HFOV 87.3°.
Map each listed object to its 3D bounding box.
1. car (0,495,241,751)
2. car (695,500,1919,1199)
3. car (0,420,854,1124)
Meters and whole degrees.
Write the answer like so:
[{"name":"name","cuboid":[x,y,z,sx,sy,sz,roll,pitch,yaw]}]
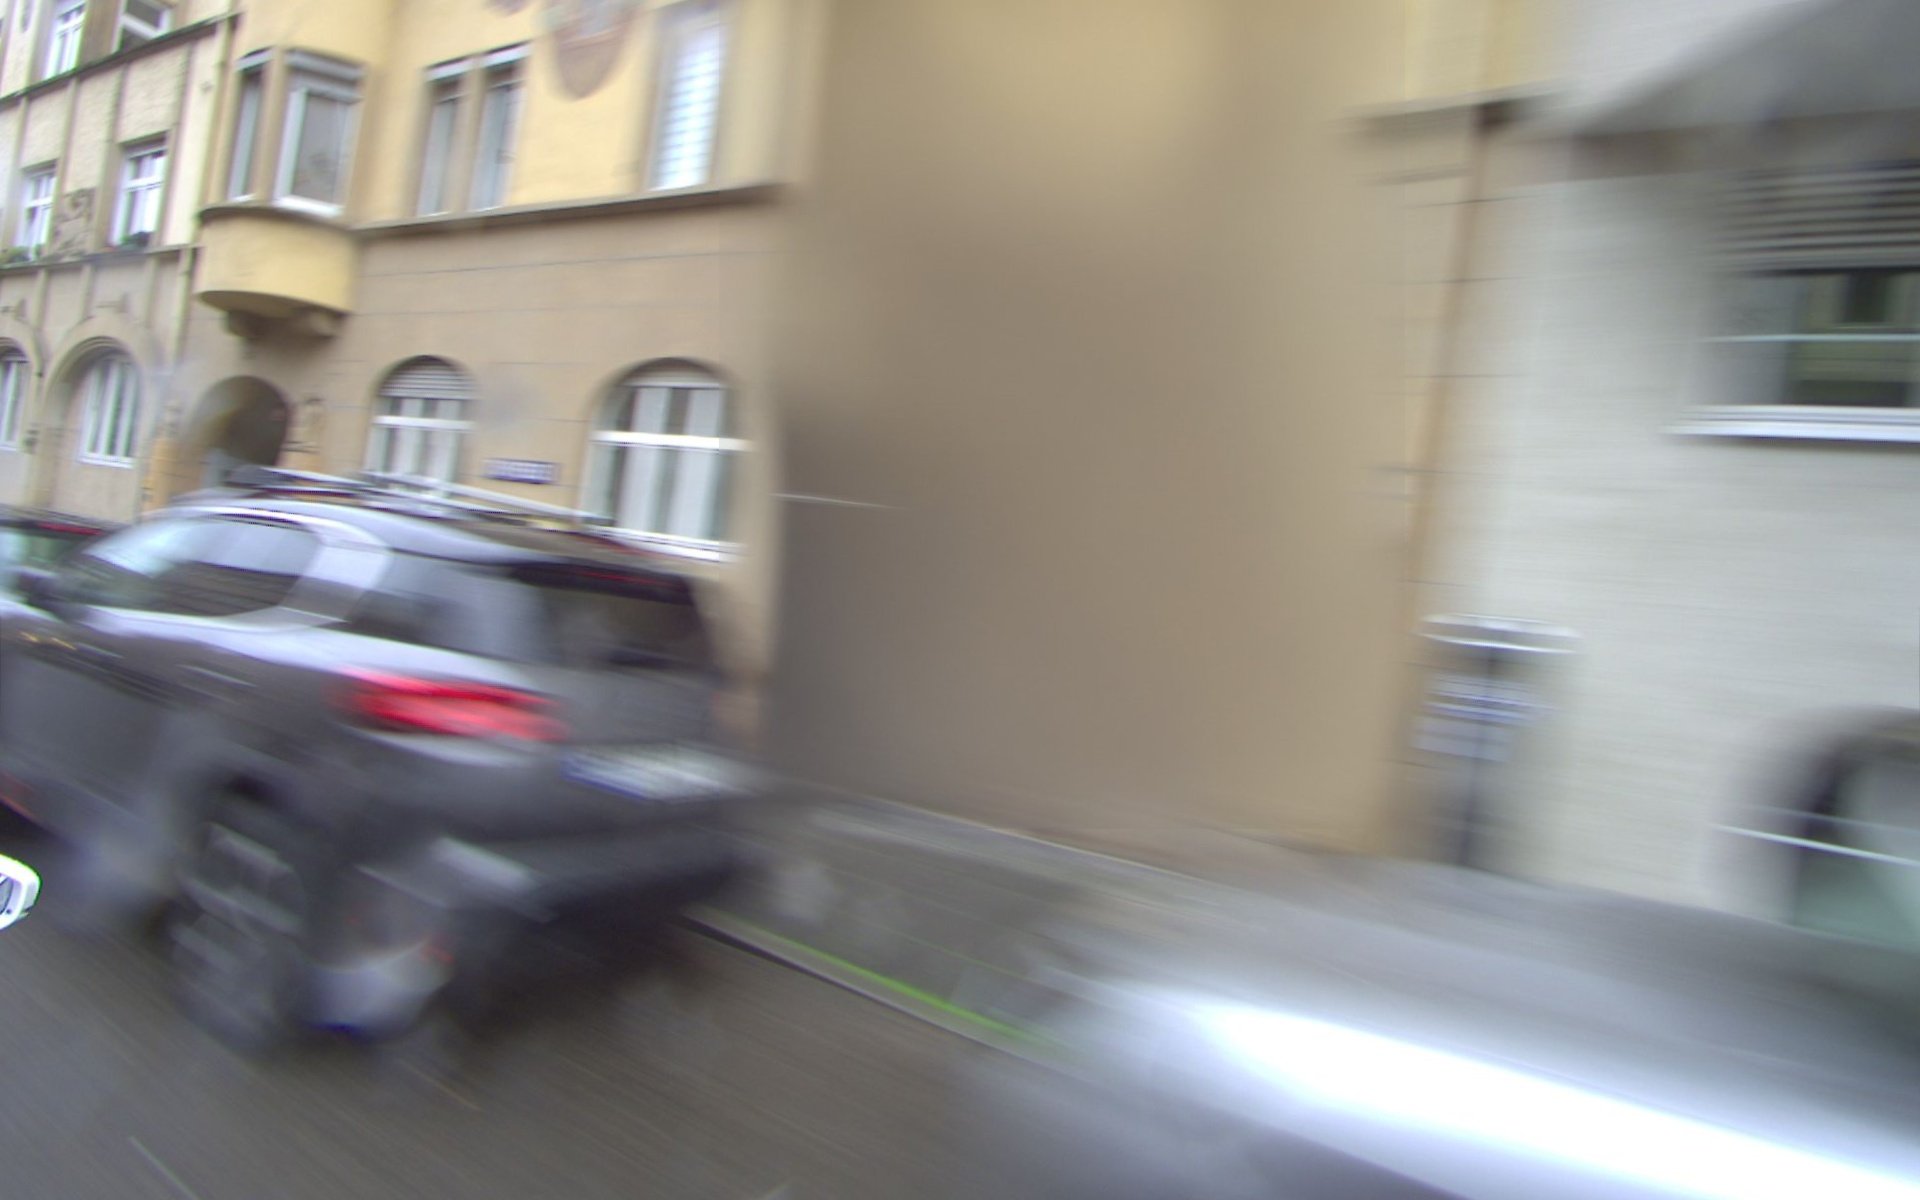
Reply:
[{"name":"car","cuboid":[-6.721,0.033,6.864,3.253,1.456,1.596,6,-3,30]},{"name":"car","cuboid":[2.033,0.931,1.125,4.684,1.627,1.843,6,-2,34]},{"name":"car","cuboid":[-2.865,0.317,4.475,4.474,1.770,1.781,6,-2,32]}]
